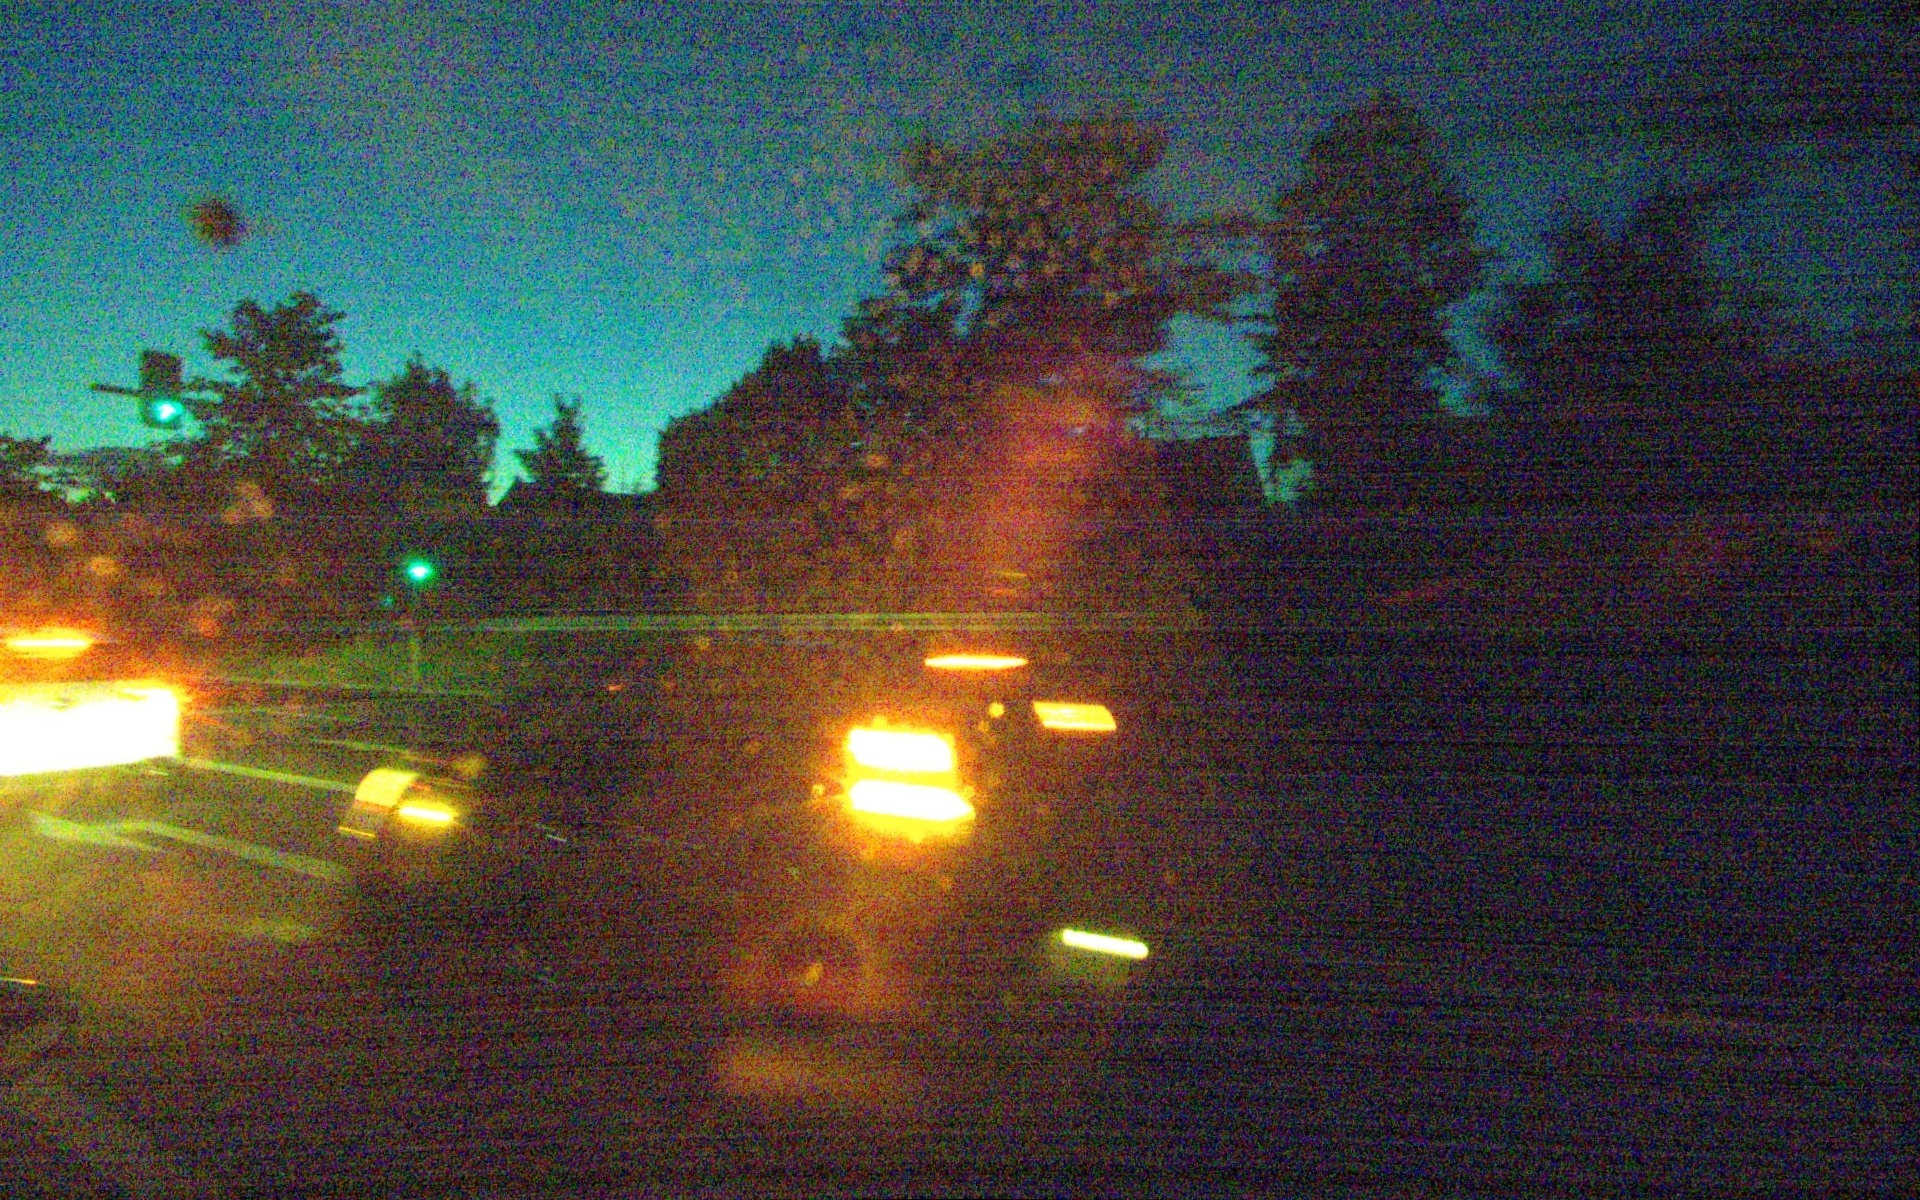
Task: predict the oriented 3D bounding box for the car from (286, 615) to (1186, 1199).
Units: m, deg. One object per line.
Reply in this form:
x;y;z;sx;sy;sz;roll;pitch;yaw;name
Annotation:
-1.007;0.813;4.110;3.439;1.469;1.650;0;-1;32;car

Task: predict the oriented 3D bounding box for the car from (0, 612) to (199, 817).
-8.568;0.848;8.665;4.130;1.478;1.756;0;-1;31;car
